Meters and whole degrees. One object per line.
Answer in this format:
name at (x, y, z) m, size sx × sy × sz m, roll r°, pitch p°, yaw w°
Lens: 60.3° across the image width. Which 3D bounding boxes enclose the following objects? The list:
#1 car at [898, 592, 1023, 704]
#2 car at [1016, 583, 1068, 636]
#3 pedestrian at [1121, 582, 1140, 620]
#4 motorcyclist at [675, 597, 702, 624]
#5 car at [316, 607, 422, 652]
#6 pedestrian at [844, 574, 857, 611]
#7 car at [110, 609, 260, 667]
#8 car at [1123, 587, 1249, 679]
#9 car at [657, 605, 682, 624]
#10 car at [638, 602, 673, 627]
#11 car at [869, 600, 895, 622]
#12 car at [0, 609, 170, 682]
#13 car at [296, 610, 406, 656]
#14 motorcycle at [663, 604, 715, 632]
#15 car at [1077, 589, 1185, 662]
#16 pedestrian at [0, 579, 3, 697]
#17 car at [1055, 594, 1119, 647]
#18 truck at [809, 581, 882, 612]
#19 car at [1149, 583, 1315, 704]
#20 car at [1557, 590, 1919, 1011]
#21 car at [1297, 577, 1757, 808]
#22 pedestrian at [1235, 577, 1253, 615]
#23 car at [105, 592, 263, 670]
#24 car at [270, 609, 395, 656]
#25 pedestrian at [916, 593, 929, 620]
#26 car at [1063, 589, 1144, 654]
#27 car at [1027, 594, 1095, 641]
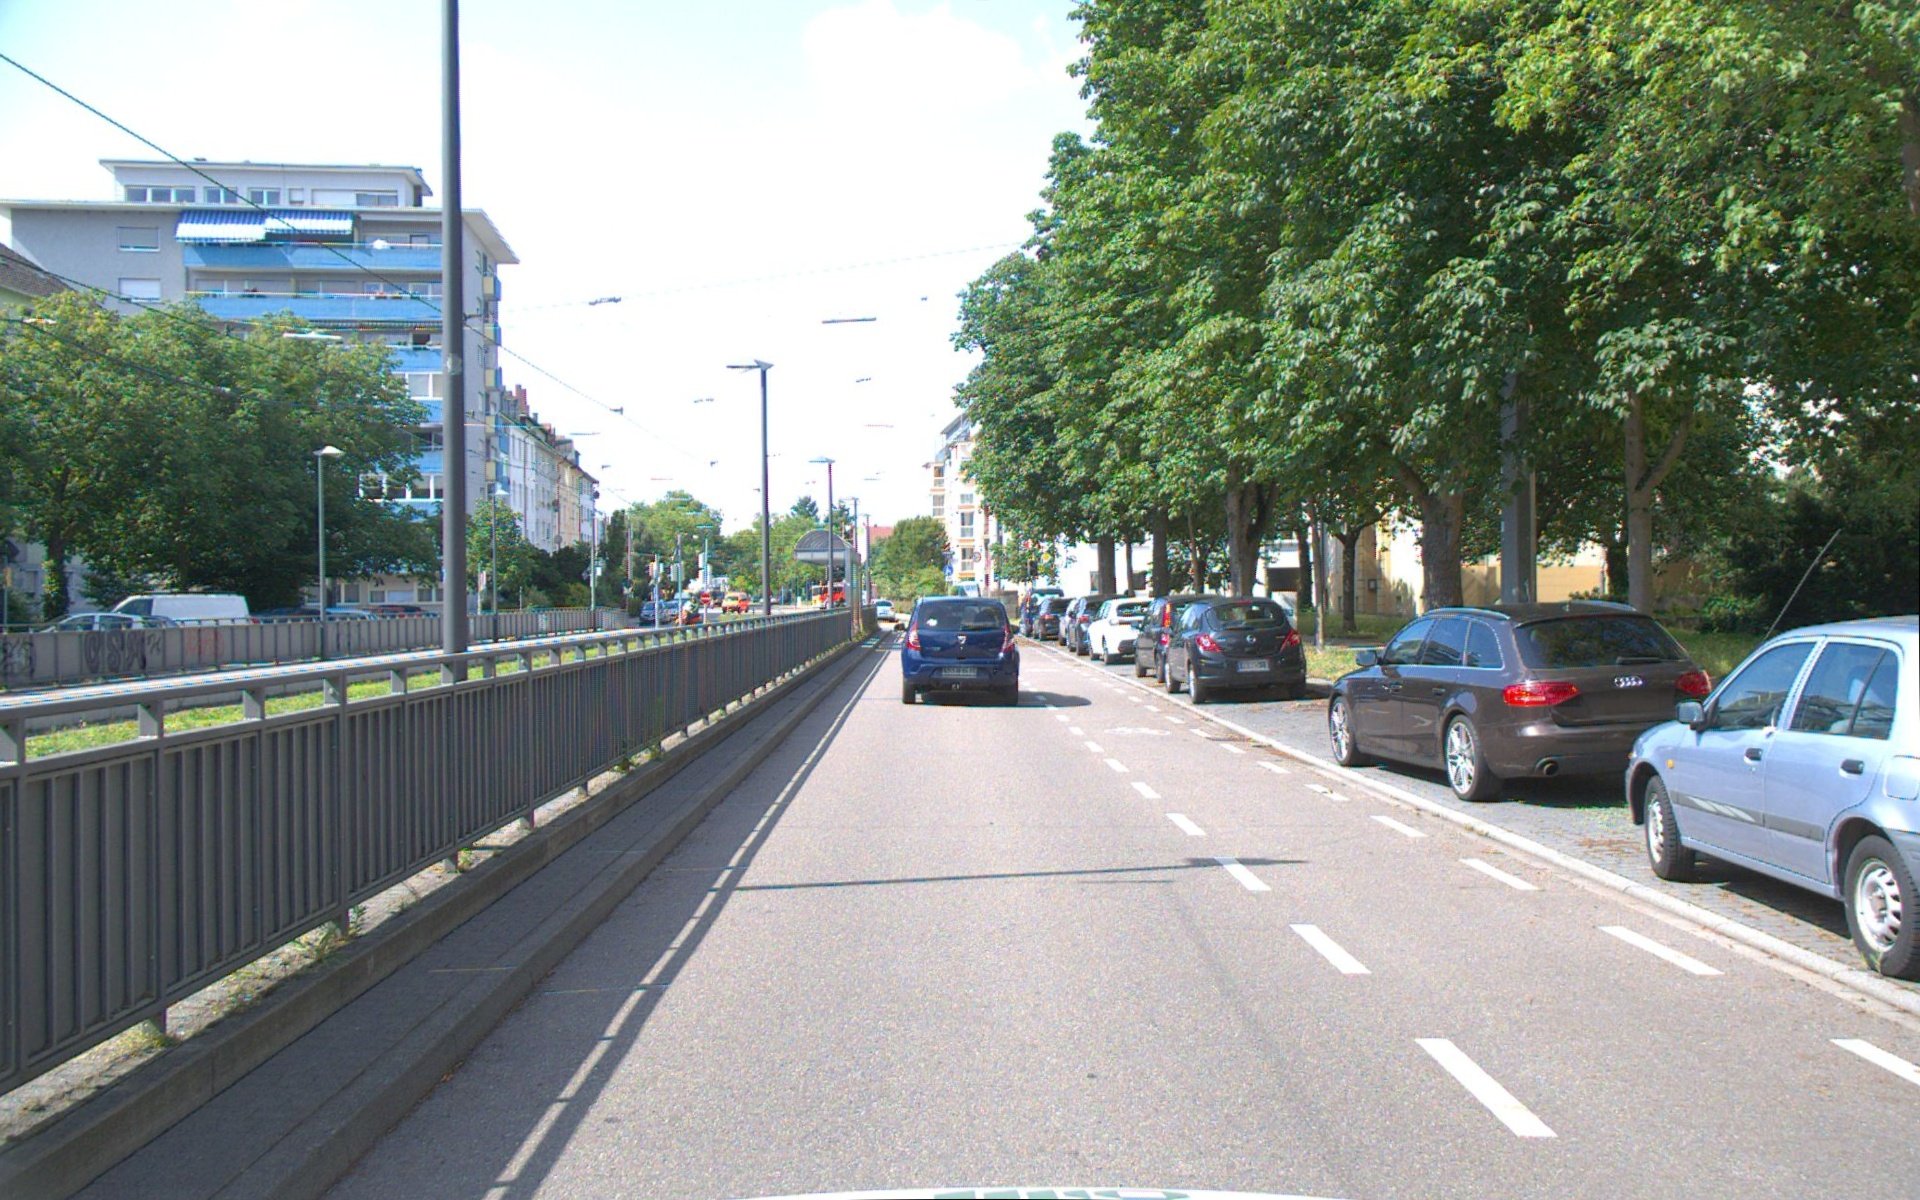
car at (-0.057, 0.680, 24.763) m, size 1.709 × 1.533 × 3.998 m, roll 1°, pitch -1°, yaw -2°
car at (3.186, 0.341, 64.725) m, size 1.785 × 1.929 × 4.184 m, roll -2°, pitch 1°, yaw 0°
pedestrian at (7.812, 0.036, 75.788) m, size 0.729 × 1.726 × 0.767 m, roll -1°, pitch 0°, yaw -1°
motorcyclist at (-13.901, 0.529, 84.730) m, size 0.979 × 1.362 × 0.926 m, roll -1°, pitch 0°, yaw -44°
car at (-22.972, 1.126, 64.282) m, size 3.620 × 1.607 × 1.631 m, roll -1°, pitch 0°, yaw -33°
pedestrian at (-5.042, -0.323, 76.129) m, size 0.507 × 1.677 × 0.529 m, roll -2°, pitch -1°, yaw -4°
car at (-23.362, 1.108, 49.921) m, size 3.903 × 1.607 × 1.699 m, roll -1°, pitch 0°, yaw -34°
car at (4.117, 0.602, 30.635) m, size 1.525 × 1.486 × 3.555 m, roll -4°, pitch -1°, yaw -4°
car at (-22.753, 1.119, 129.589) m, size 1.734 × 1.467 × 3.994 m, roll 1°, pitch -1°, yaw -7°
car at (-20.932, 0.982, 113.703) m, size 1.955 × 1.674 × 3.995 m, roll 1°, pitch -1°, yaw -5°
car at (-5.388, 0.788, 114.384) m, size 1.591 × 1.491 × 3.506 m, roll 1°, pitch -1°, yaw -6°
car at (-22.353, 1.113, 41.893) m, size 3.960 × 1.668 × 1.802 m, roll -1°, pitch 2°, yaw -39°
car at (-22.749, 1.216, 61.806) m, size 3.620 × 1.607 × 1.631 m, roll -1°, pitch 0°, yaw -33°
motorcycle at (-13.899, 0.915, 84.730) m, size 2.498 × 1.362 × 1.001 m, roll -2°, pitch 0°, yaw -44°
car at (4.012, 0.576, 39.372) m, size 1.799 × 1.550 × 4.250 m, roll -3°, pitch 0°, yaw -4°
pedestrian at (-13.499, 0.528, 22.093) m, size 0.969 × 1.606 × 0.798 m, roll -1°, pitch -1°, yaw -4°
car at (3.846, 0.606, 50.380) m, size 1.558 × 1.470 × 3.597 m, roll -3°, pitch 0°, yaw -1°
truck at (-13.805, -0.471, 199.499) m, size 8.245 × 3.241 × 2.586 m, roll -3°, pitch 0°, yaw -24°
car at (4.082, 0.610, 25.437) m, size 1.657 × 1.588 × 4.306 m, roll -4°, pitch 0°, yaw -1°
car at (4.384, 0.743, 7.902) m, size 1.602 × 1.456 × 4.015 m, roll -4°, pitch 1°, yaw 1°
car at (4.422, 0.672, 13.847) m, size 1.796 × 1.492 × 4.826 m, roll -3°, pitch -1°, yaw -5°
pedestrian at (12.508, -0.178, 72.914) m, size 0.619 × 1.624 × 0.539 m, roll -1°, pitch -1°, yaw -4°
car at (-22.329, 0.853, 47.607) m, size 3.902 × 2.106 × 2.027 m, roll -1°, pitch 0°, yaw -33°
car at (-22.454, 1.151, 59.211) m, size 3.975 × 1.540 × 1.592 m, roll -1°, pitch 0°, yaw -32°
pedestrian at (-2.605, 0.441, 114.495) m, size 0.687 × 1.820 × 1.029 m, roll -4°, pitch 0°, yaw -5°
car at (3.836, 0.549, 44.968) m, size 1.690 × 1.611 × 4.676 m, roll -2°, pitch 0°, yaw -1°
car at (3.592, 0.590, 59.377) m, size 1.879 × 1.467 × 4.794 m, roll -3°, pitch 1°, yaw -2°
